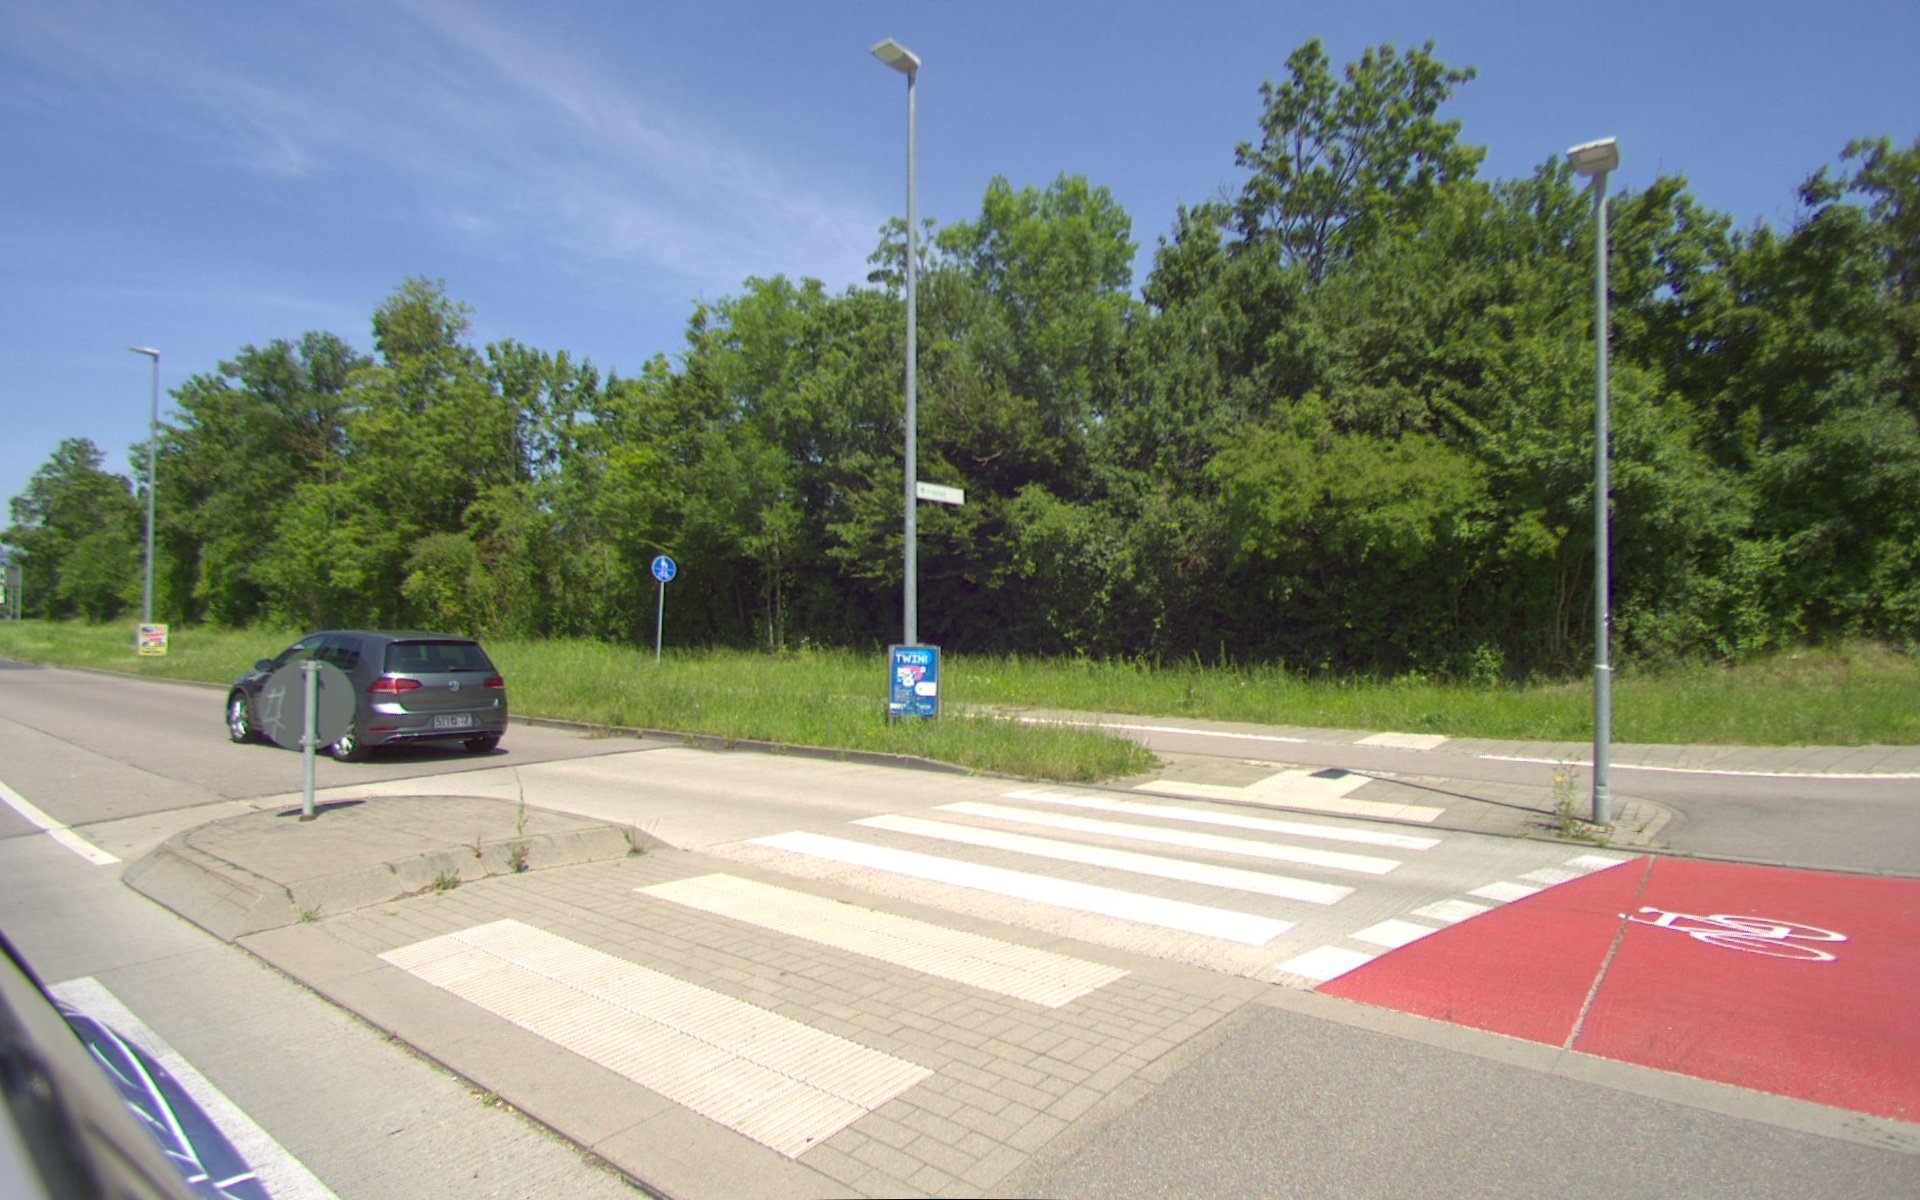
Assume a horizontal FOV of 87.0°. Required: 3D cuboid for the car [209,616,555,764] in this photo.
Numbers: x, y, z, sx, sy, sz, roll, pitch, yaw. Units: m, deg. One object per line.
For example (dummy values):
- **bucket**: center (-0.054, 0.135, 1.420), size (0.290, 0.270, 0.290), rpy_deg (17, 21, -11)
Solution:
- **car**: center (-7.049, 0.991, 12.232), size (4.279, 1.490, 1.976), rpy_deg (-1, -3, 35)
